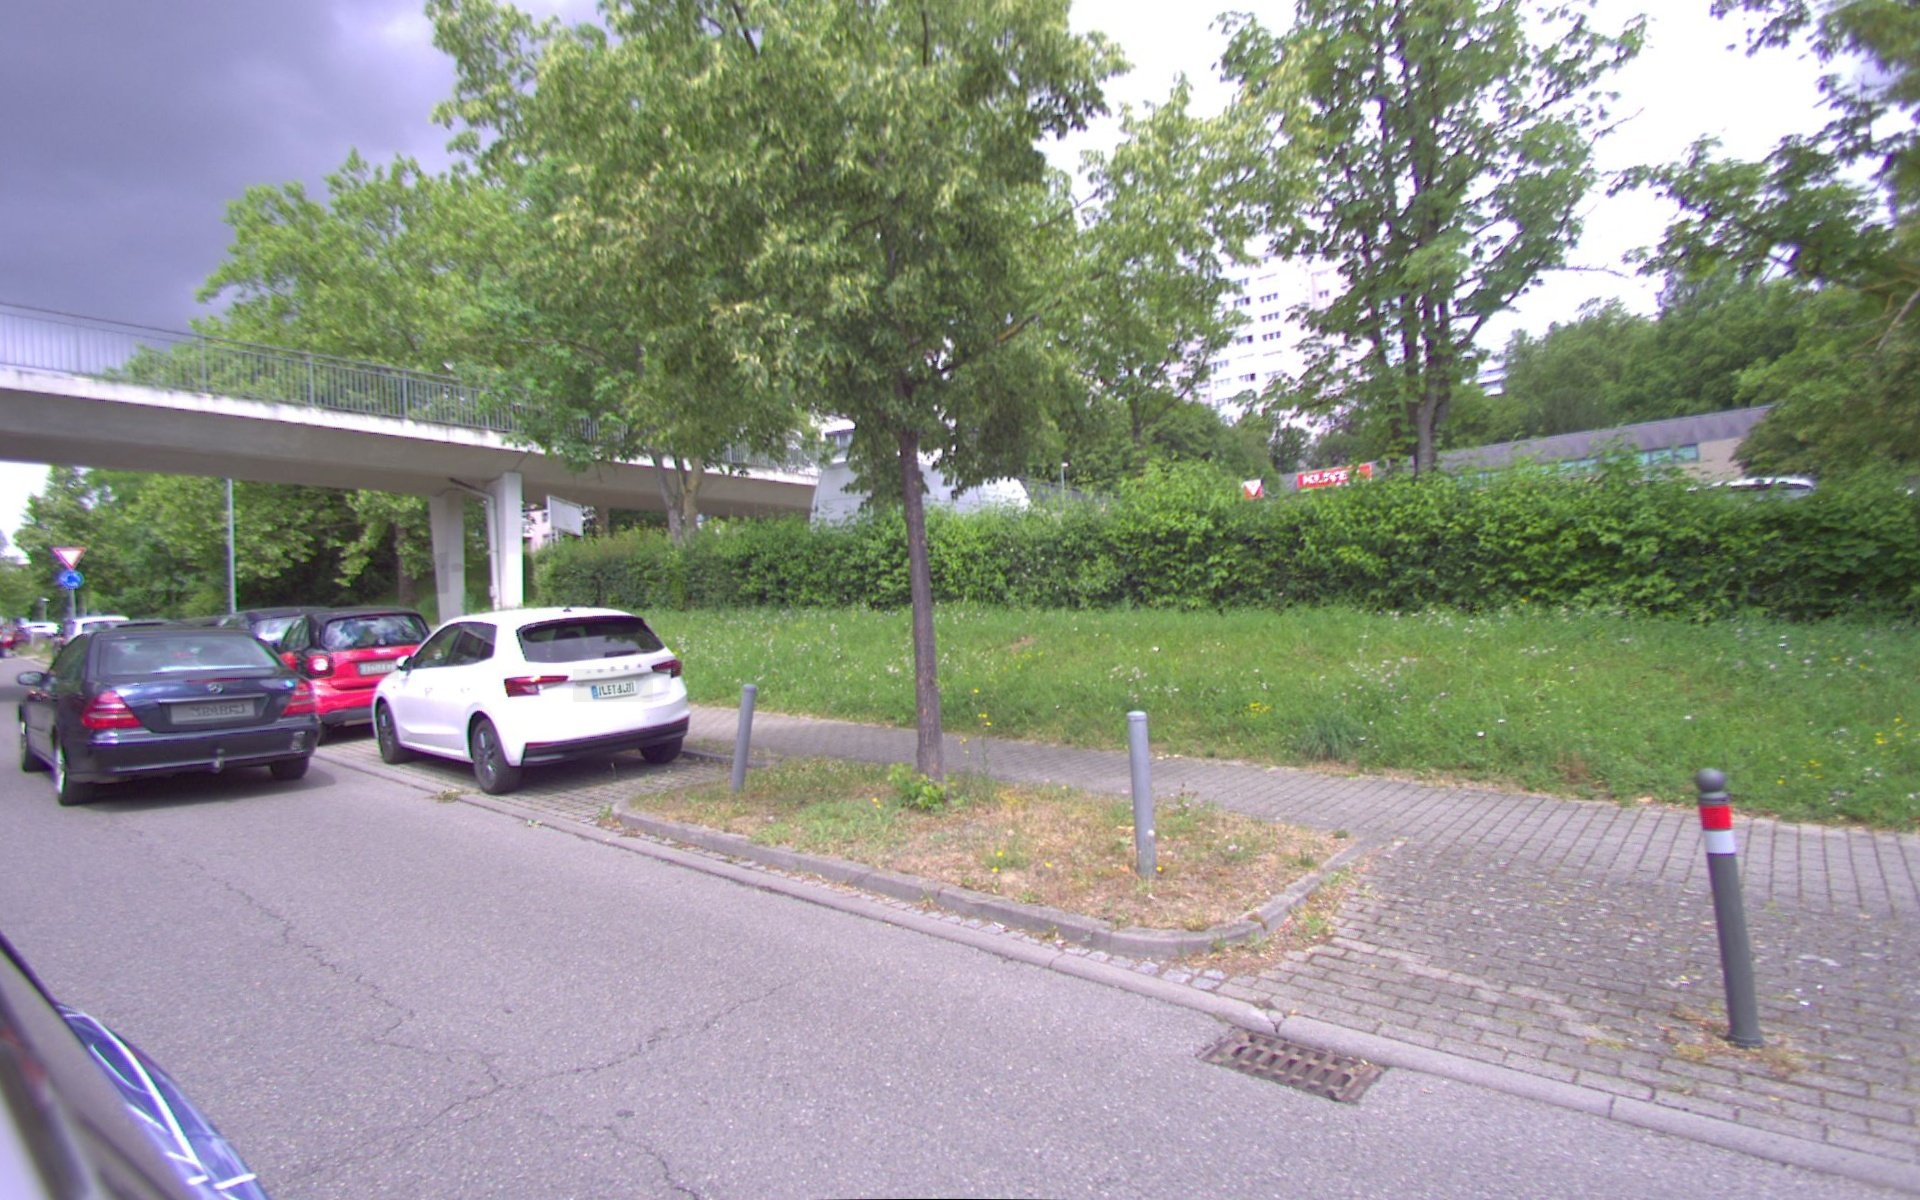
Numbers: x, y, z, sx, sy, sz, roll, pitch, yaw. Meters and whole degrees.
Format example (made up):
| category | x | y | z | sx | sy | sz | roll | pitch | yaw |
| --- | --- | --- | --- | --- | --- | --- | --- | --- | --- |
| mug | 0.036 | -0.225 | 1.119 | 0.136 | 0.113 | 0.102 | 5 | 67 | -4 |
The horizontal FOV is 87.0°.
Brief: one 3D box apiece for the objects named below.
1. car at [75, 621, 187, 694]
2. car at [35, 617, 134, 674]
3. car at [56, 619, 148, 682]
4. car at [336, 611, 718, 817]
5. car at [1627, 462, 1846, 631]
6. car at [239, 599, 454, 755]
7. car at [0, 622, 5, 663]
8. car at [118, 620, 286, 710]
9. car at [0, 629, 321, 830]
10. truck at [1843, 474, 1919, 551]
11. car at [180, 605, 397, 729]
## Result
| category | x | y | z | sx | sy | sz | roll | pitch | yaw |
| --- | --- | --- | --- | --- | --- | --- | --- | --- | --- |
| car | -20.033 | 1.320 | 24.407 | 1.787 | 1.466 | 3.865 | -5 | 2 | -43 |
| car | -27.113 | 1.367 | 31.298 | 3.720 | 1.582 | 1.789 | -1 | 1 | 41 |
| car | -23.814 | 1.340 | 28.033 | 1.787 | 1.582 | 3.726 | 0 | 0 | -43 |
| car | -4.252 | 0.890 | 9.629 | 4.048 | 1.415 | 1.789 | -1 | 3 | 43 |
| car | 10.210 | -0.780 | 13.356 | 1.998 | 1.873 | 3.951 | -1 | 5 | 38 |
| car | -7.683 | 0.865 | 12.616 | 2.686 | 1.596 | 1.576 | -1 | 3 | 44 |
| car | -38.435 | 1.649 | 39.187 | 3.720 | 1.582 | 1.789 | -1 | 0 | 41 |
| car | -15.105 | 1.194 | 20.077 | 4.485 | 1.491 | 1.789 | -1 | 1 | 42 |
| car | -7.632 | 1.010 | 9.491 | 4.368 | 1.430 | 1.733 | -2 | -1 | 43 |
| truck | 49.055 | -4.586 | 53.631 | 2.574 | 3.720 | 7.249 | -1 | 2 | 35 |
| car | -10.459 | 0.951 | 15.659 | 3.984 | 1.596 | 1.789 | -2 | 1 | 42 |
